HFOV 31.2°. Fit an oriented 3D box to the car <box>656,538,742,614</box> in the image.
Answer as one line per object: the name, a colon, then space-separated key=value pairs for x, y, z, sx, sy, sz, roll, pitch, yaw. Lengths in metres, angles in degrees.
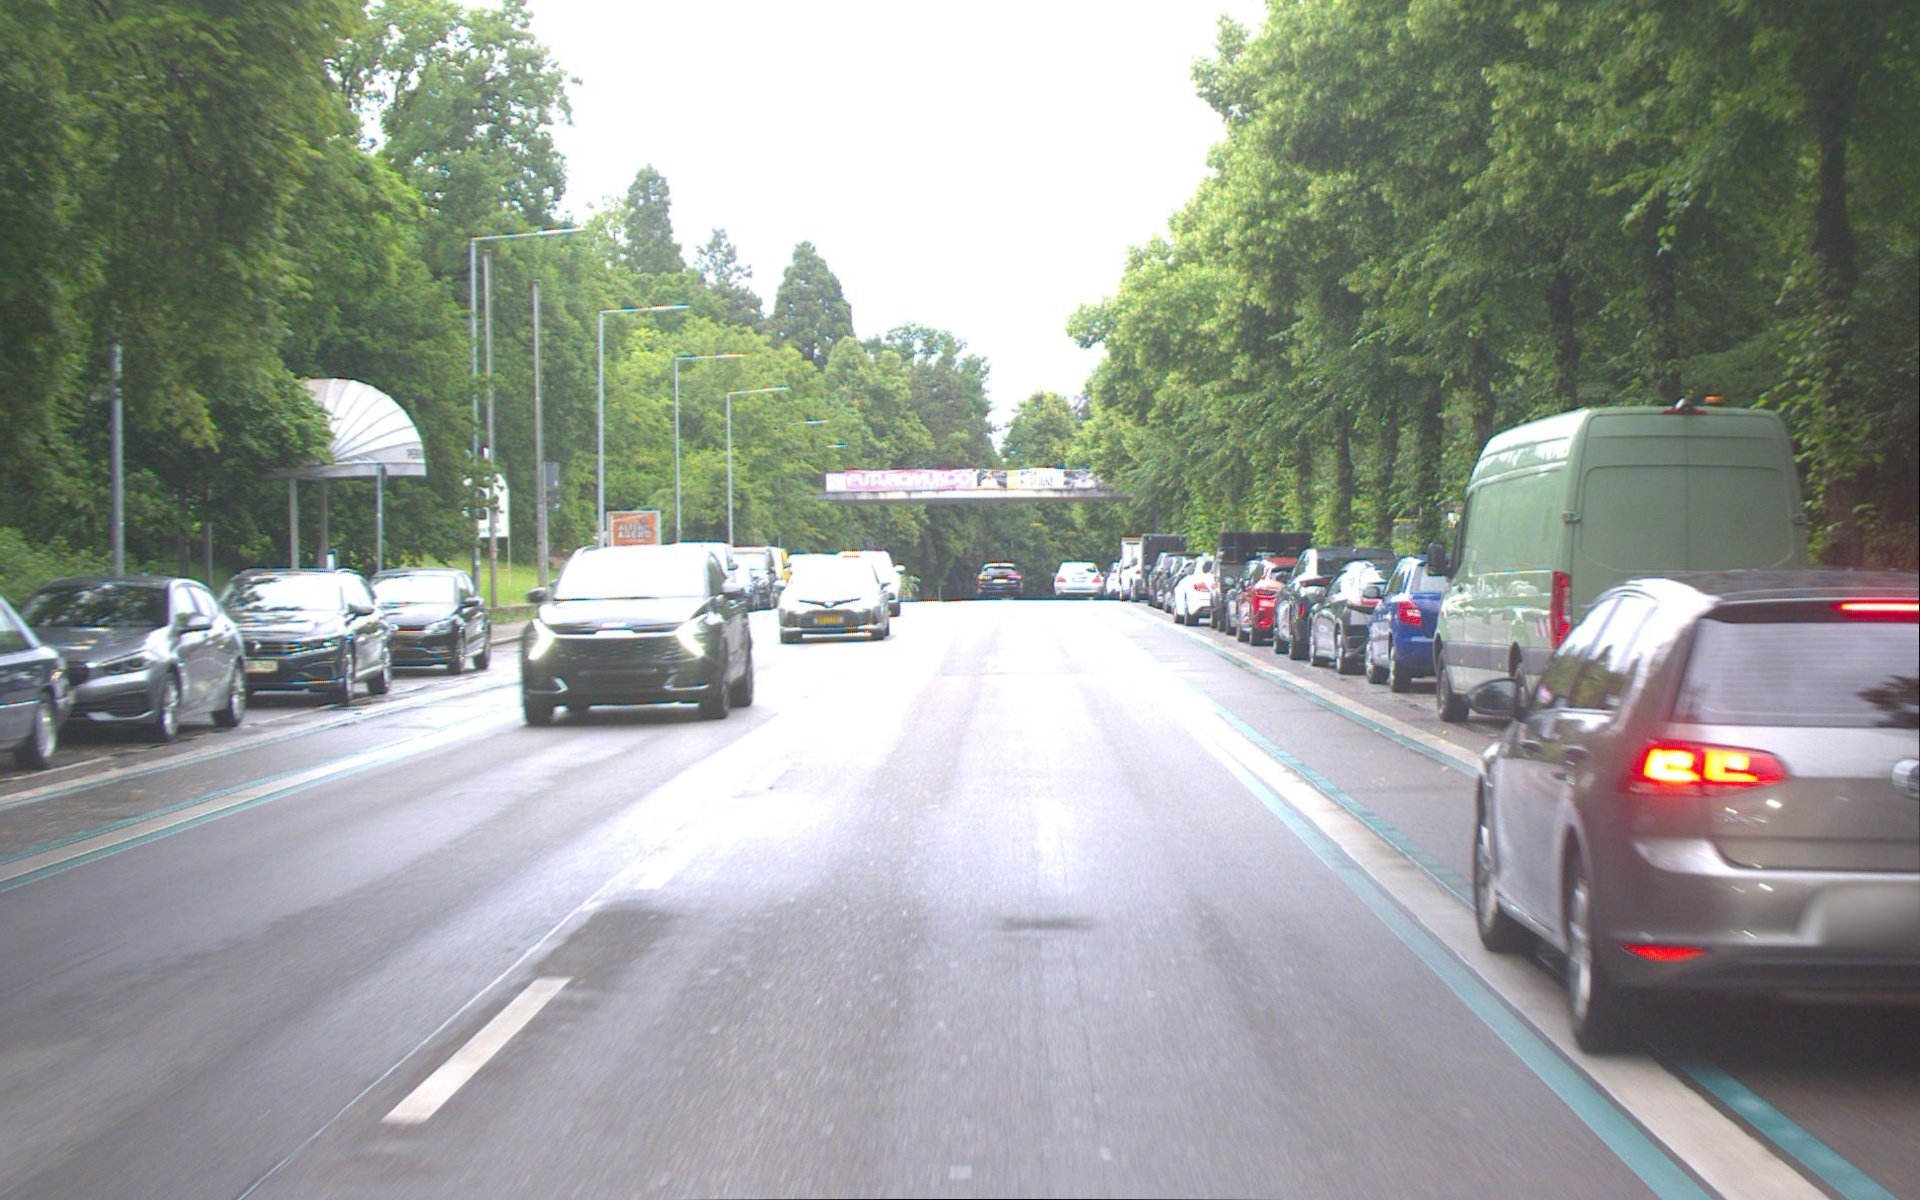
car: x=-6.911 y=-0.655 z=91.438 sx=1.913 sy=1.925 sz=4.928 roll=0 pitch=1 yaw=0

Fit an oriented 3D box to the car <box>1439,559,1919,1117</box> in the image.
car: x=2.735 y=0.625 z=11.446 sx=1.818 sy=1.503 sz=4.139 roll=0 pitch=1 yaw=2

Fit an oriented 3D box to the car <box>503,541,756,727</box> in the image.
car: x=-3.070 y=0.270 z=32.805 sx=1.966 sy=1.622 sz=4.321 roll=-1 pitch=1 yaw=0

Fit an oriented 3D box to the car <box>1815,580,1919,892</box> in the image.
car: x=5.278 y=0.639 z=15.764 sx=1.686 sy=1.411 sz=4.197 roll=0 pitch=1 yaw=0

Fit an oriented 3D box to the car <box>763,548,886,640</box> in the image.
car: x=-2.355 y=-0.124 z=60.853 sx=1.921 sy=1.555 sz=4.621 roll=0 pitch=1 yaw=1

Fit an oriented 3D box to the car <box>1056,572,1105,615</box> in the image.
car: x=4.490 y=-0.257 z=128.444 sx=1.731 sy=1.578 sz=4.036 roll=-1 pitch=1 yaw=0

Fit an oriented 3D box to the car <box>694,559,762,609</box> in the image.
car: x=-6.853 y=-0.489 z=101.836 sx=1.731 sy=1.385 sz=4.370 roll=0 pitch=1 yaw=0

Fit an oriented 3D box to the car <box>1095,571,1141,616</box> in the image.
car: x=6.149 y=-0.276 z=133.908 sx=1.731 sy=1.678 sz=4.045 roll=-1 pitch=1 yaw=2

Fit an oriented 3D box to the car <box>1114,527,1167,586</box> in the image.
car: x=6.707 y=-1.621 z=127.879 sx=1.889 sy=2.120 sz=4.045 roll=1 pitch=1 yaw=2

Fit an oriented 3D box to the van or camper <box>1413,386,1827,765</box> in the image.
van or camper: x=5.261 y=-0.237 z=28.482 sx=2.042 sy=2.720 sz=6.901 roll=1 pitch=1 yaw=0

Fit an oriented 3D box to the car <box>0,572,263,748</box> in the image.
car: x=-7.693 y=0.495 z=31.387 sx=1.784 sy=1.418 sz=4.296 roll=0 pitch=1 yaw=0

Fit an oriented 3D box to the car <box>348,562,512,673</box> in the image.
car: x=-7.336 y=0.216 z=47.888 sx=1.670 sy=1.452 sz=3.993 roll=0 pitch=1 yaw=0

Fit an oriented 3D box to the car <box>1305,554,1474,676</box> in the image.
car: x=5.470 y=0.158 z=44.200 sx=1.686 sy=1.451 sz=4.146 roll=1 pitch=1 yaw=1

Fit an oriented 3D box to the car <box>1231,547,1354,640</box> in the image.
car: x=5.498 y=-0.129 z=57.202 sx=1.686 sy=1.448 sz=4.165 roll=1 pitch=1 yaw=1

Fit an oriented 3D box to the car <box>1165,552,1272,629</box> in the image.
car: x=5.444 y=-0.225 z=72.917 sx=1.789 sy=1.537 sz=4.890 roll=1 pitch=1 yaw=-1

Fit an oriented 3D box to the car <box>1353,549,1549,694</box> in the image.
car: x=5.470 y=0.198 z=38.667 sx=1.686 sy=1.508 sz=3.835 roll=1 pitch=1 yaw=1

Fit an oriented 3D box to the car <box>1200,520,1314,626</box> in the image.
car: x=5.837 y=-0.558 z=68.018 sx=1.926 sy=2.015 sz=4.663 roll=0 pitch=1 yaw=1

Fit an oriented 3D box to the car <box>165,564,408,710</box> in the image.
car: x=-7.485 y=0.368 z=38.625 sx=1.956 sy=1.458 sz=4.757 roll=0 pitch=1 yaw=-2

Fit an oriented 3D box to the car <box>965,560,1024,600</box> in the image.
car: x=1.326 y=-0.795 z=134.138 sx=2.140 sy=1.487 sz=4.499 roll=0 pitch=1 yaw=-1

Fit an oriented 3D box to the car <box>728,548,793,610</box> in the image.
car: x=-6.571 y=-0.713 z=113.556 sx=1.883 sy=1.938 sz=4.826 roll=0 pitch=1 yaw=-1

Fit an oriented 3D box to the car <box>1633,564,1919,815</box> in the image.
car: x=5.460 y=0.493 z=21.648 sx=1.686 sy=1.411 sz=4.100 roll=1 pitch=1 yaw=1

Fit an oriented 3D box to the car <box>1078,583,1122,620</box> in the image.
car: x=5.685 y=0.048 z=140.021 sx=1.731 sy=1.457 sz=4.045 roll=-1 pitch=1 yaw=2

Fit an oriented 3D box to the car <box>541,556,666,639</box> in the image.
car: x=-6.808 y=-0.080 z=66.093 sx=2.077 sy=1.477 sz=4.674 roll=0 pitch=1 yaw=-2

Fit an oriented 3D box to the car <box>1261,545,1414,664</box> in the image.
car: x=5.374 y=0.025 z=49.407 sx=1.756 sy=1.584 sz=4.498 roll=1 pitch=1 yaw=1

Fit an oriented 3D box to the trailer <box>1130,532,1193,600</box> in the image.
trailer: x=6.492 y=-1.101 z=111.163 sx=1.884 sy=2.158 sz=3.808 roll=-1 pitch=1 yaw=1

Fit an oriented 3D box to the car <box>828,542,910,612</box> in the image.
car: x=-2.228 y=-0.599 z=85.069 sx=1.795 sy=1.646 sz=4.129 roll=-2 pitch=1 yaw=1

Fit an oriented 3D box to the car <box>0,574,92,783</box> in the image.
car: x=-7.944 y=0.582 z=25.082 sx=1.983 sy=1.467 sz=4.898 roll=1 pitch=1 yaw=0
